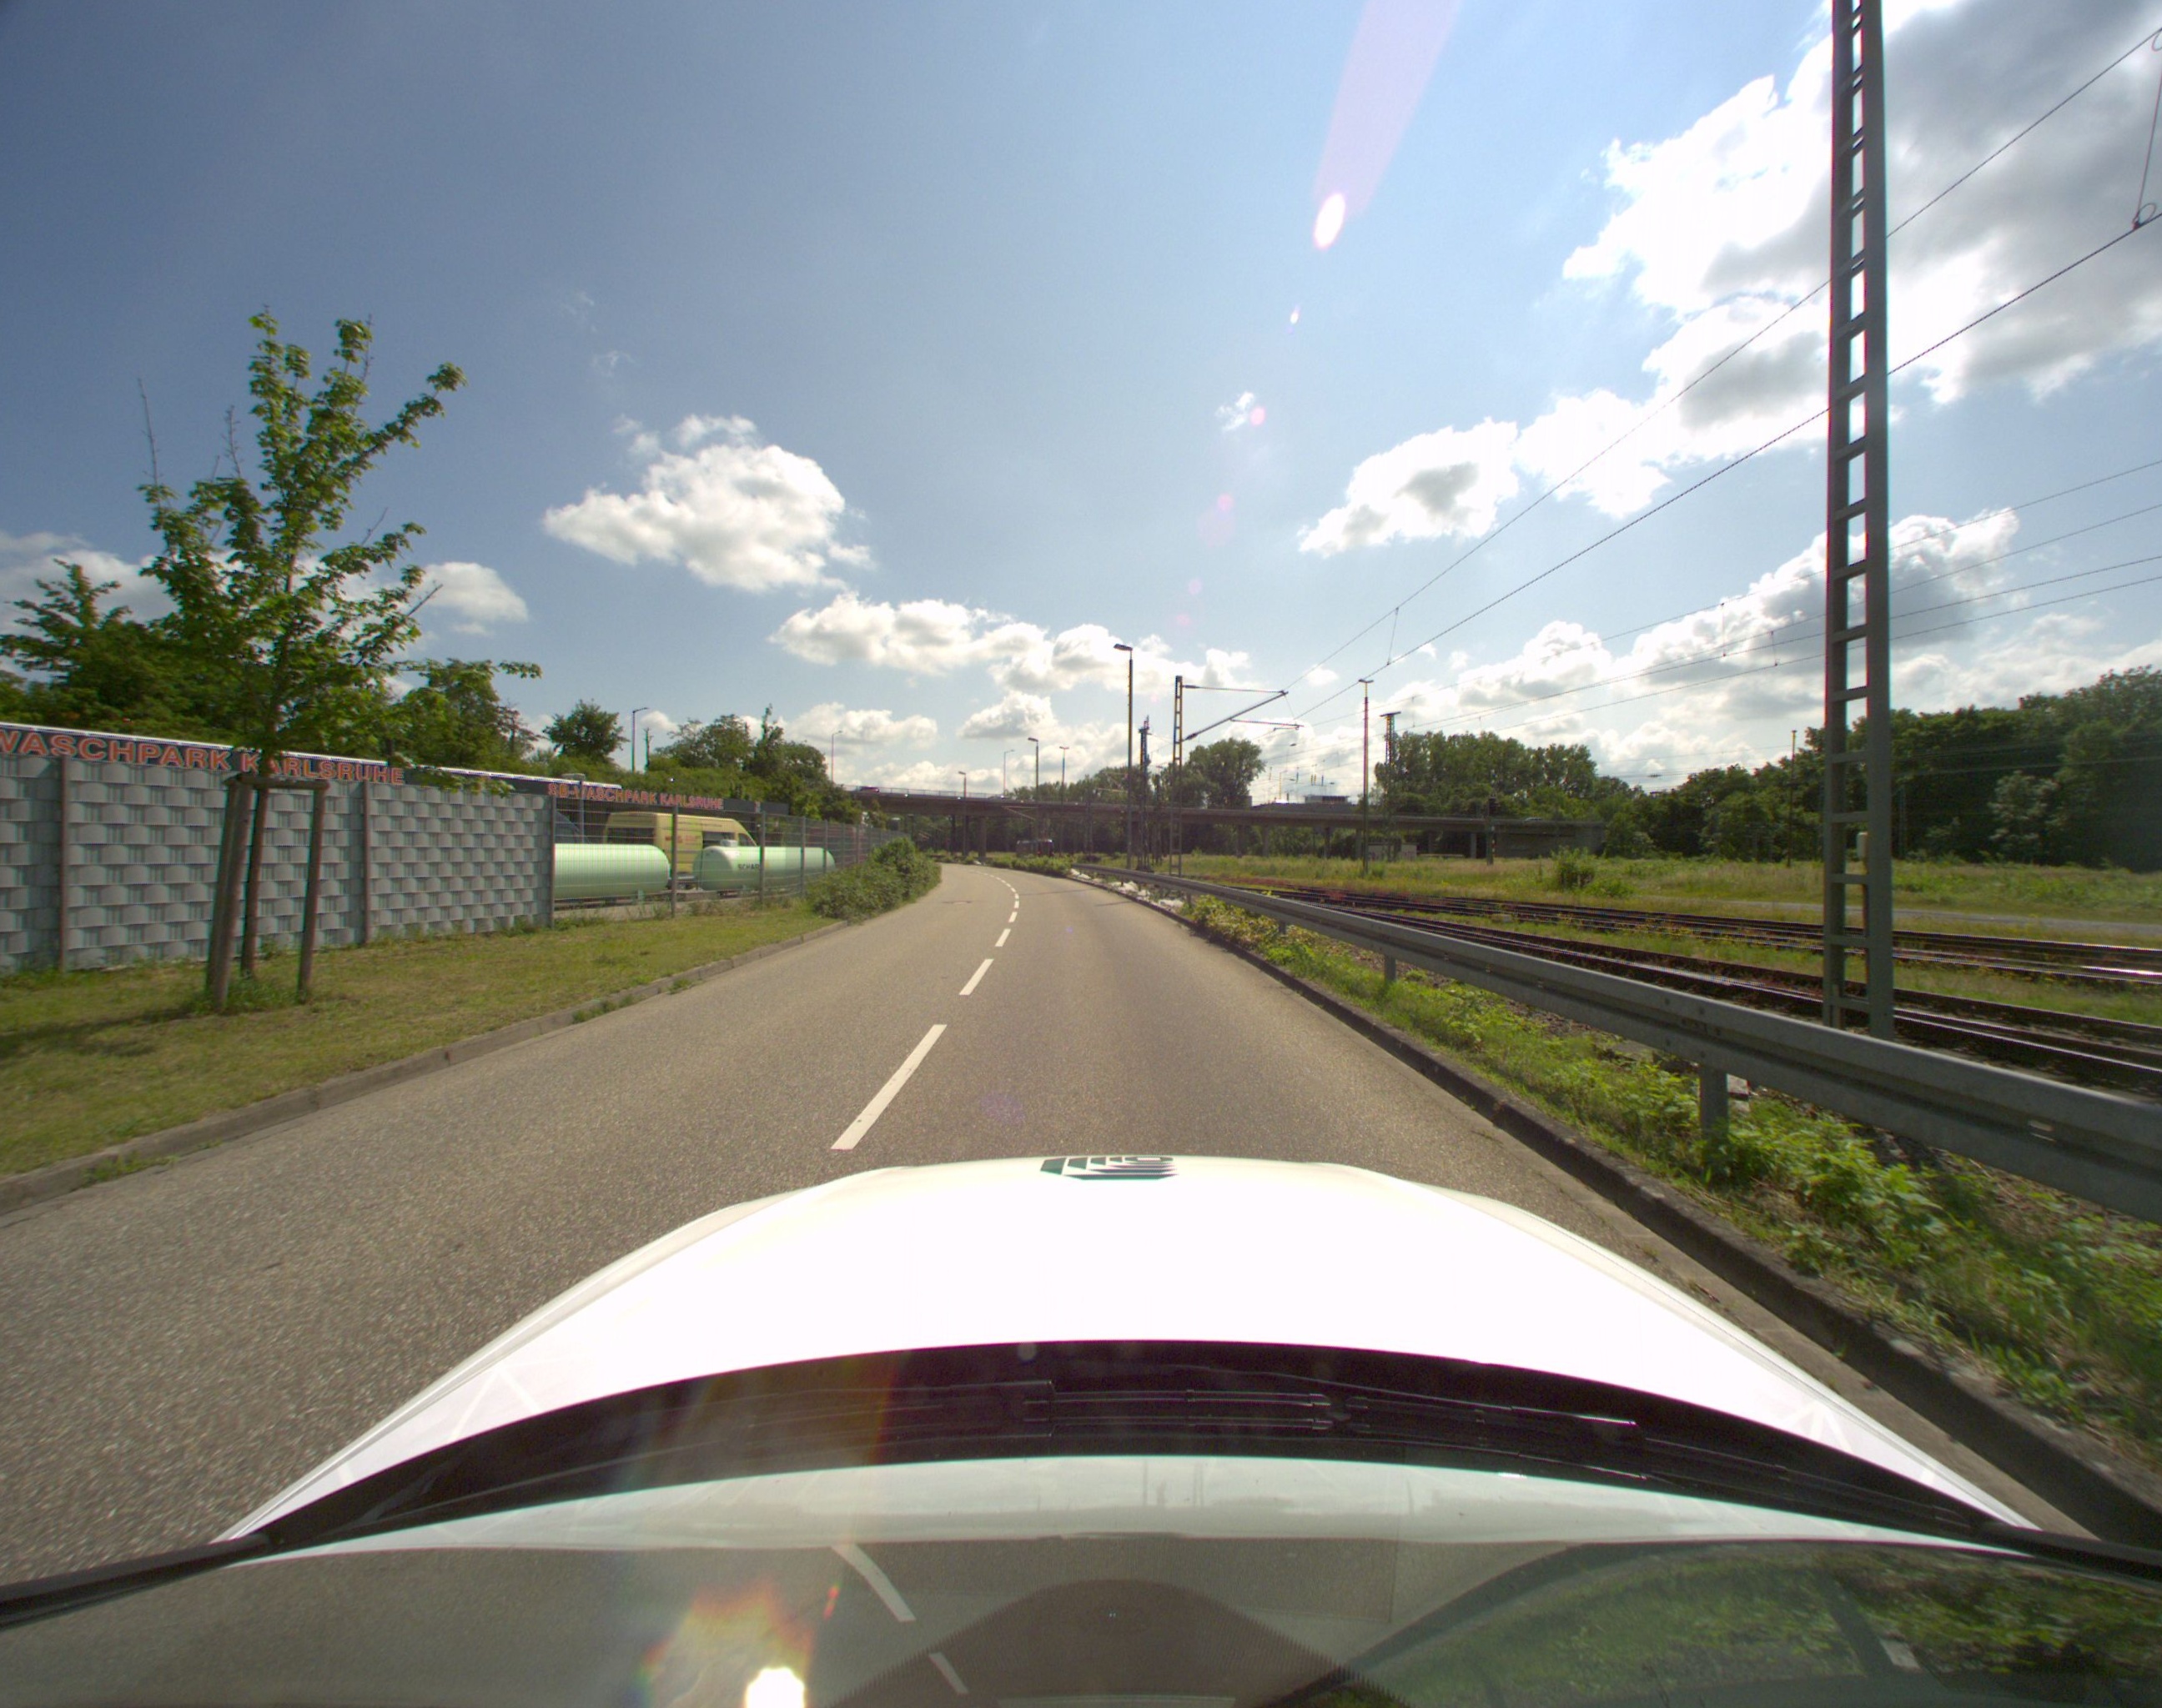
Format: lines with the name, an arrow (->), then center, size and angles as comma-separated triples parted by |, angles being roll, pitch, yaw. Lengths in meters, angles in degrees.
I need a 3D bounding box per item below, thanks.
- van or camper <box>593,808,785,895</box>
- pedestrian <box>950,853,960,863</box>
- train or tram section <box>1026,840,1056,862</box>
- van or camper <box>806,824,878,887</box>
van or camper -> -12.095, -0.047, 25.733 | 2.225, 2.425, 5.683 | 0, 0, 16
pedestrian -> -18.888, 0.580, 122.196 | 1.114, 1.540, 1.569 | 0, -1, -20
train or tram section -> -6.734, -0.481, 135.586 | 2.897, 3.509, 8.515 | 0, 0, -17
van or camper -> -10.572, 0.039, 36.488 | 2.187, 2.514, 5.687 | -2, 1, -8
